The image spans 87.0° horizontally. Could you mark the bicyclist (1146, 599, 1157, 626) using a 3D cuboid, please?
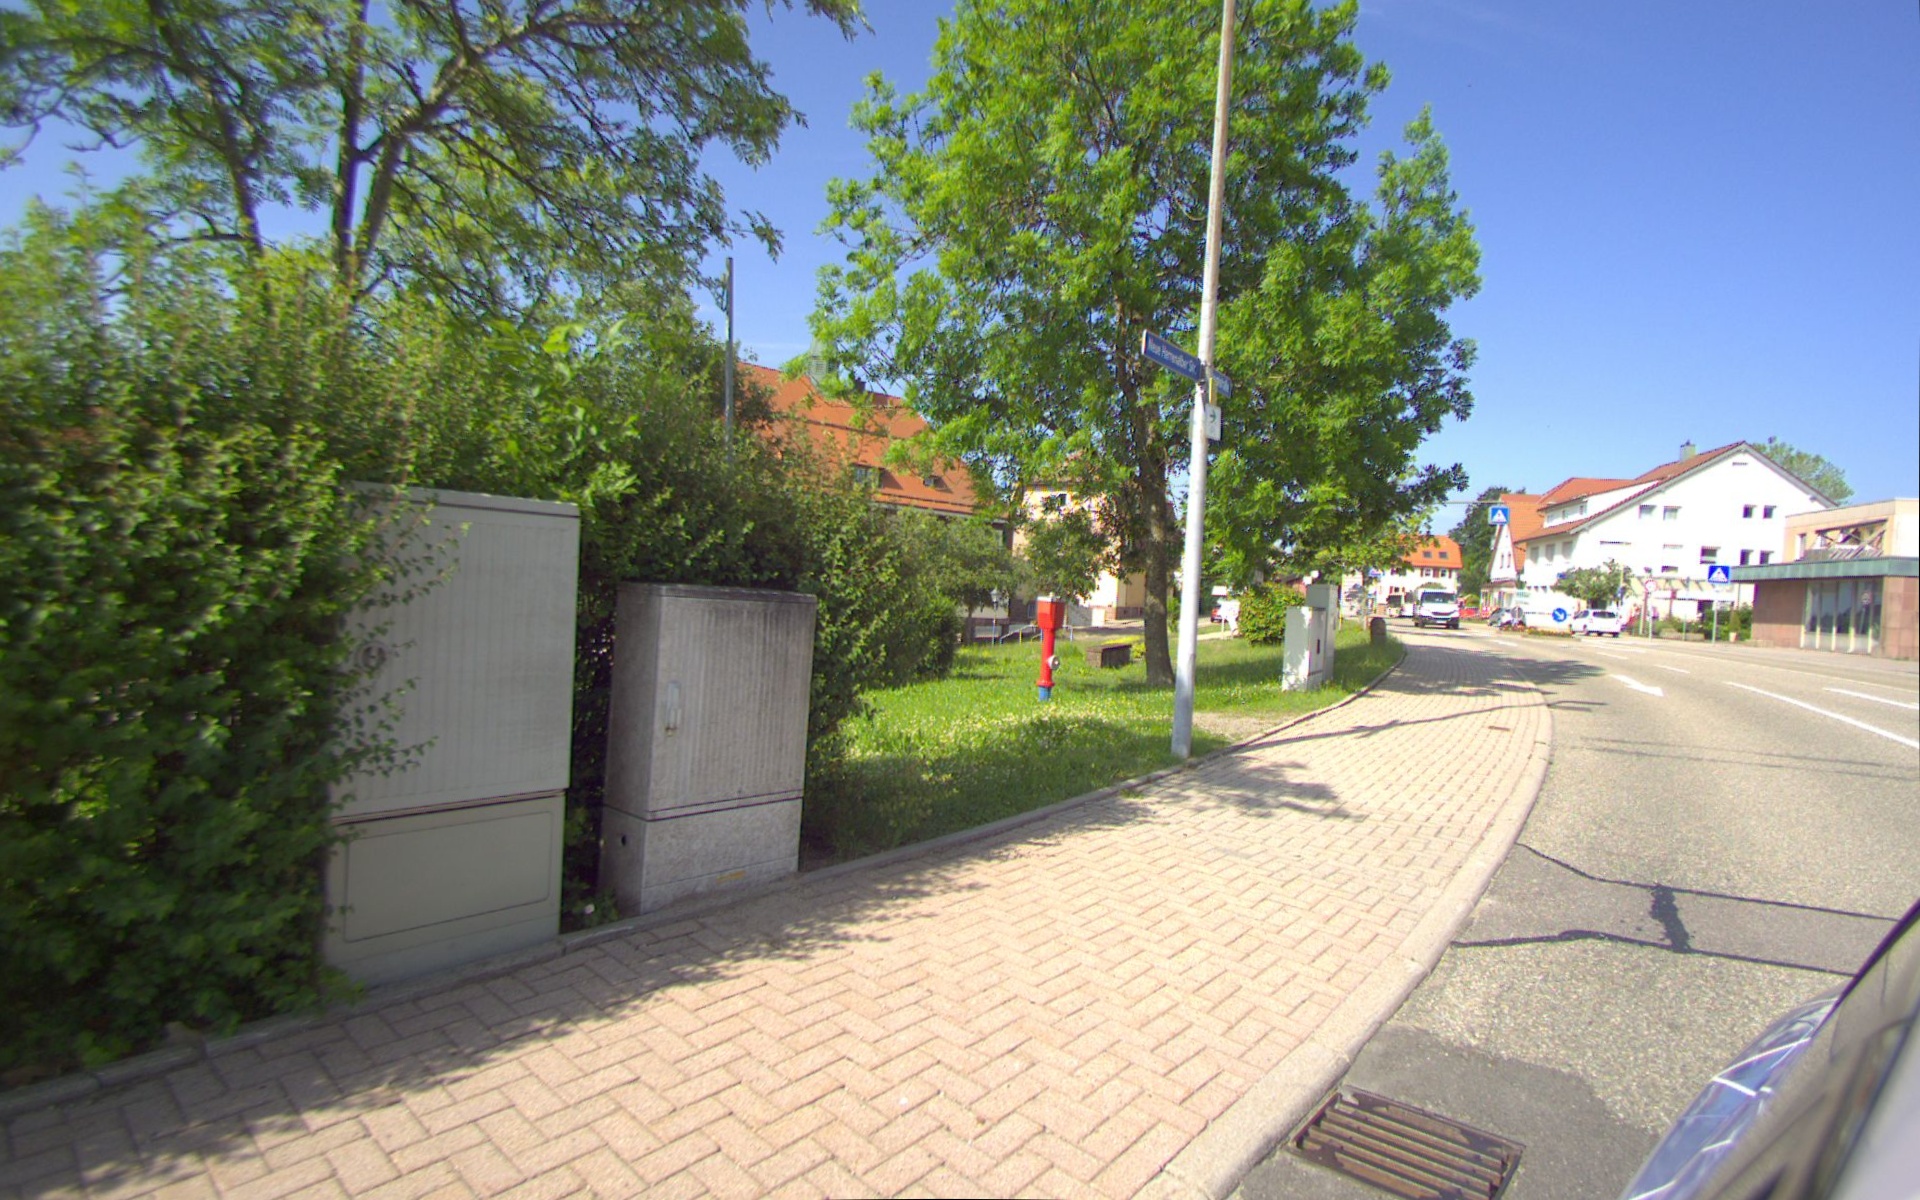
[{"bbox_3d":[13.932,0.916,73.600,0.575,1.949,0.990,0,0,21],"label":"bicyclist"}]

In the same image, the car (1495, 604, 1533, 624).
[{"bbox_3d":[40.232,0.992,73.518,1.753,1.452,3.691,-1,0,18],"label":"car"}]

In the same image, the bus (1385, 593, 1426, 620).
[{"bbox_3d":[54.759,0.843,124.794,2.680,3.053,15.138,2,-1,16],"label":"bus"}]

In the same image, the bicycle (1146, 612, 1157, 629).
[{"bbox_3d":[13.925,1.469,73.588,0.532,1.205,1.716,0,0,21],"label":"bicycle"}]

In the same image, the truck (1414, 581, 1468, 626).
[{"bbox_3d":[27.624,0.169,58.308,1.974,2.371,6.455,2,1,19],"label":"truck"}]

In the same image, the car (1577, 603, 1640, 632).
[{"bbox_3d":[35.593,0.940,55.645,1.749,1.487,3.698,0,0,13],"label":"car"}]
